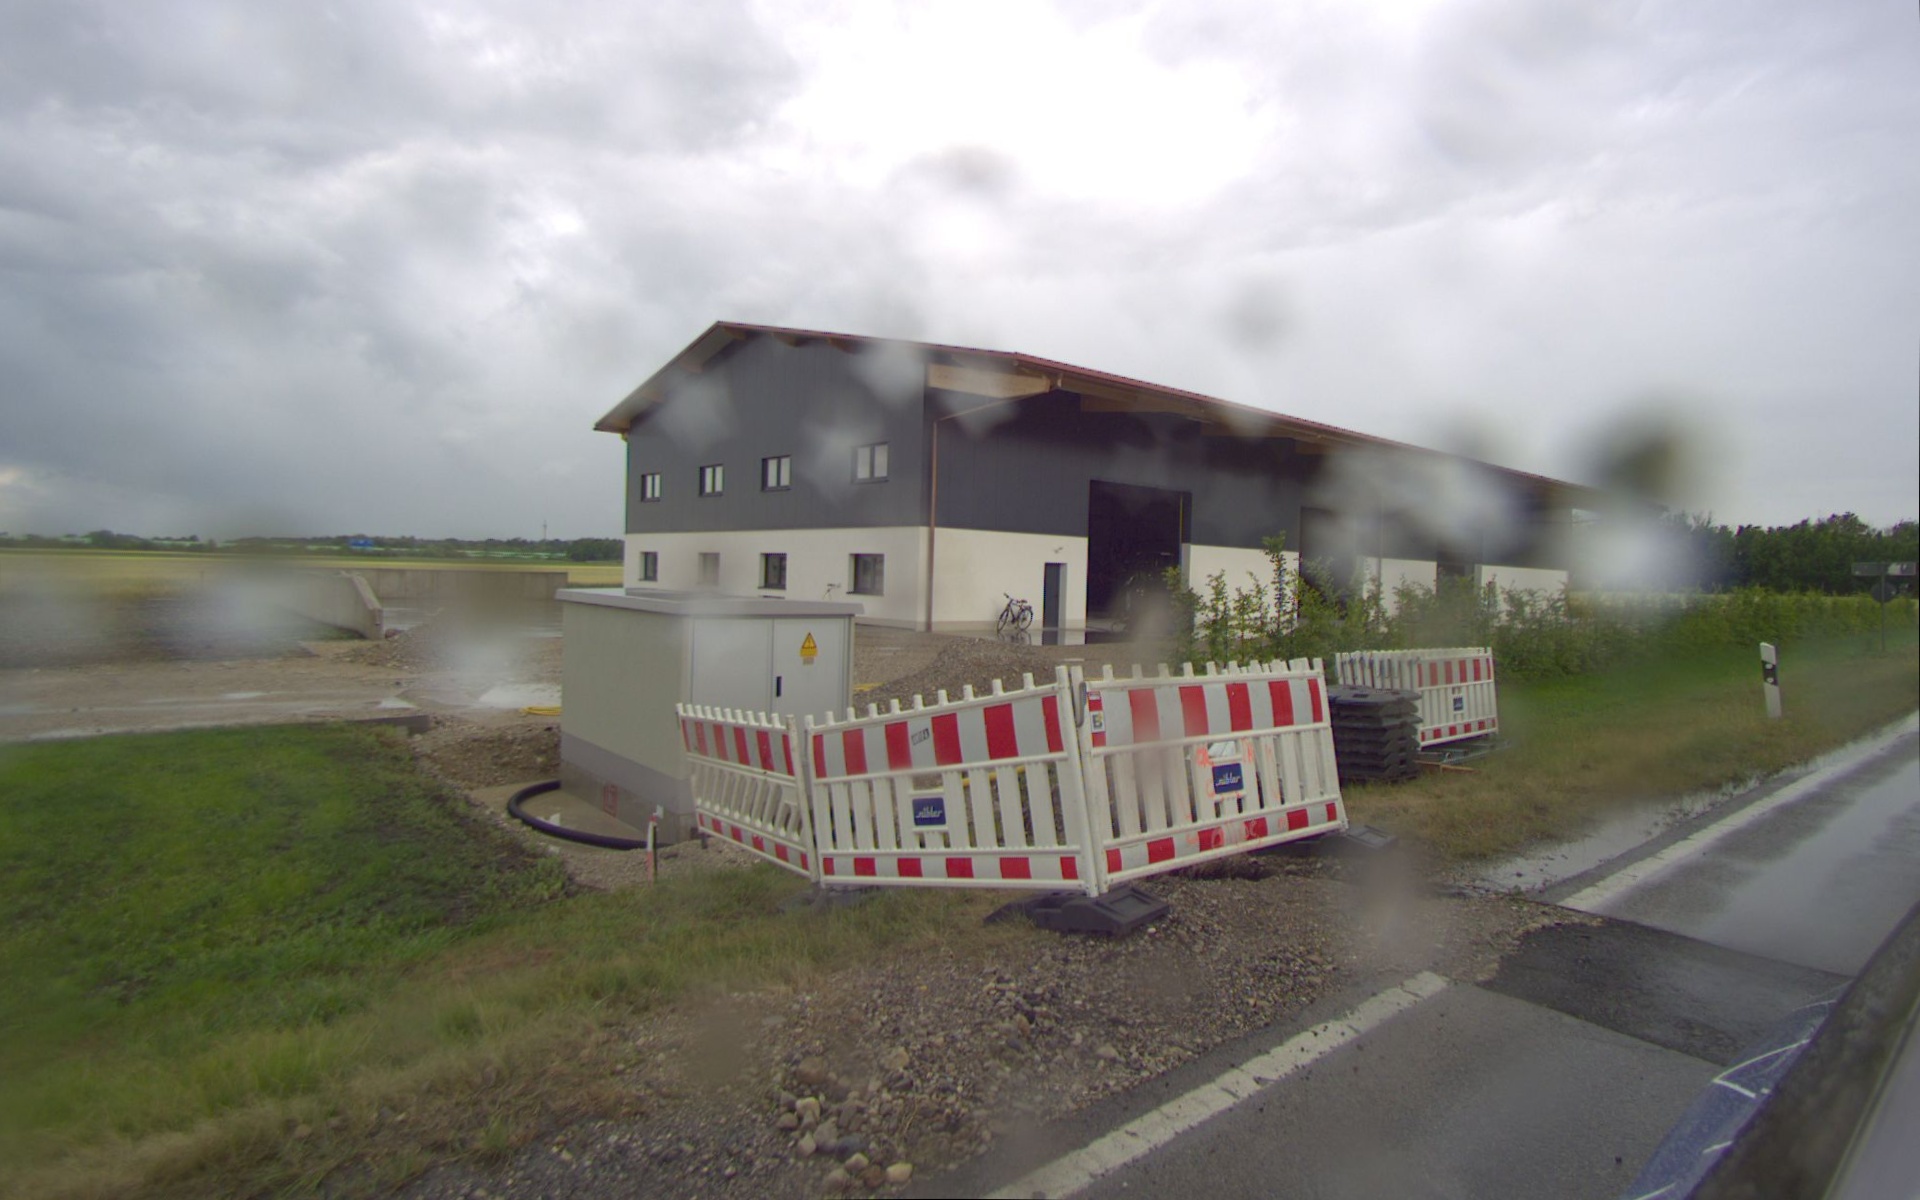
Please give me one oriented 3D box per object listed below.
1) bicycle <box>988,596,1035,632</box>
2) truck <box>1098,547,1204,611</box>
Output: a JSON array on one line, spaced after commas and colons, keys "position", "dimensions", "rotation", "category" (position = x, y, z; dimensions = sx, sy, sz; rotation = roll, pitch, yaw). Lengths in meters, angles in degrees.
[{"position": [1.610, 0.429, 31.608], "dimensions": [1.631, 1.085, 0.391], "rotation": [0, 2, -41], "category": "bicycle"}, {"position": [9.704, -1.073, 51.268], "dimensions": [5.250, 3.050, 2.495], "rotation": [0, 2, -41], "category": "truck"}]
